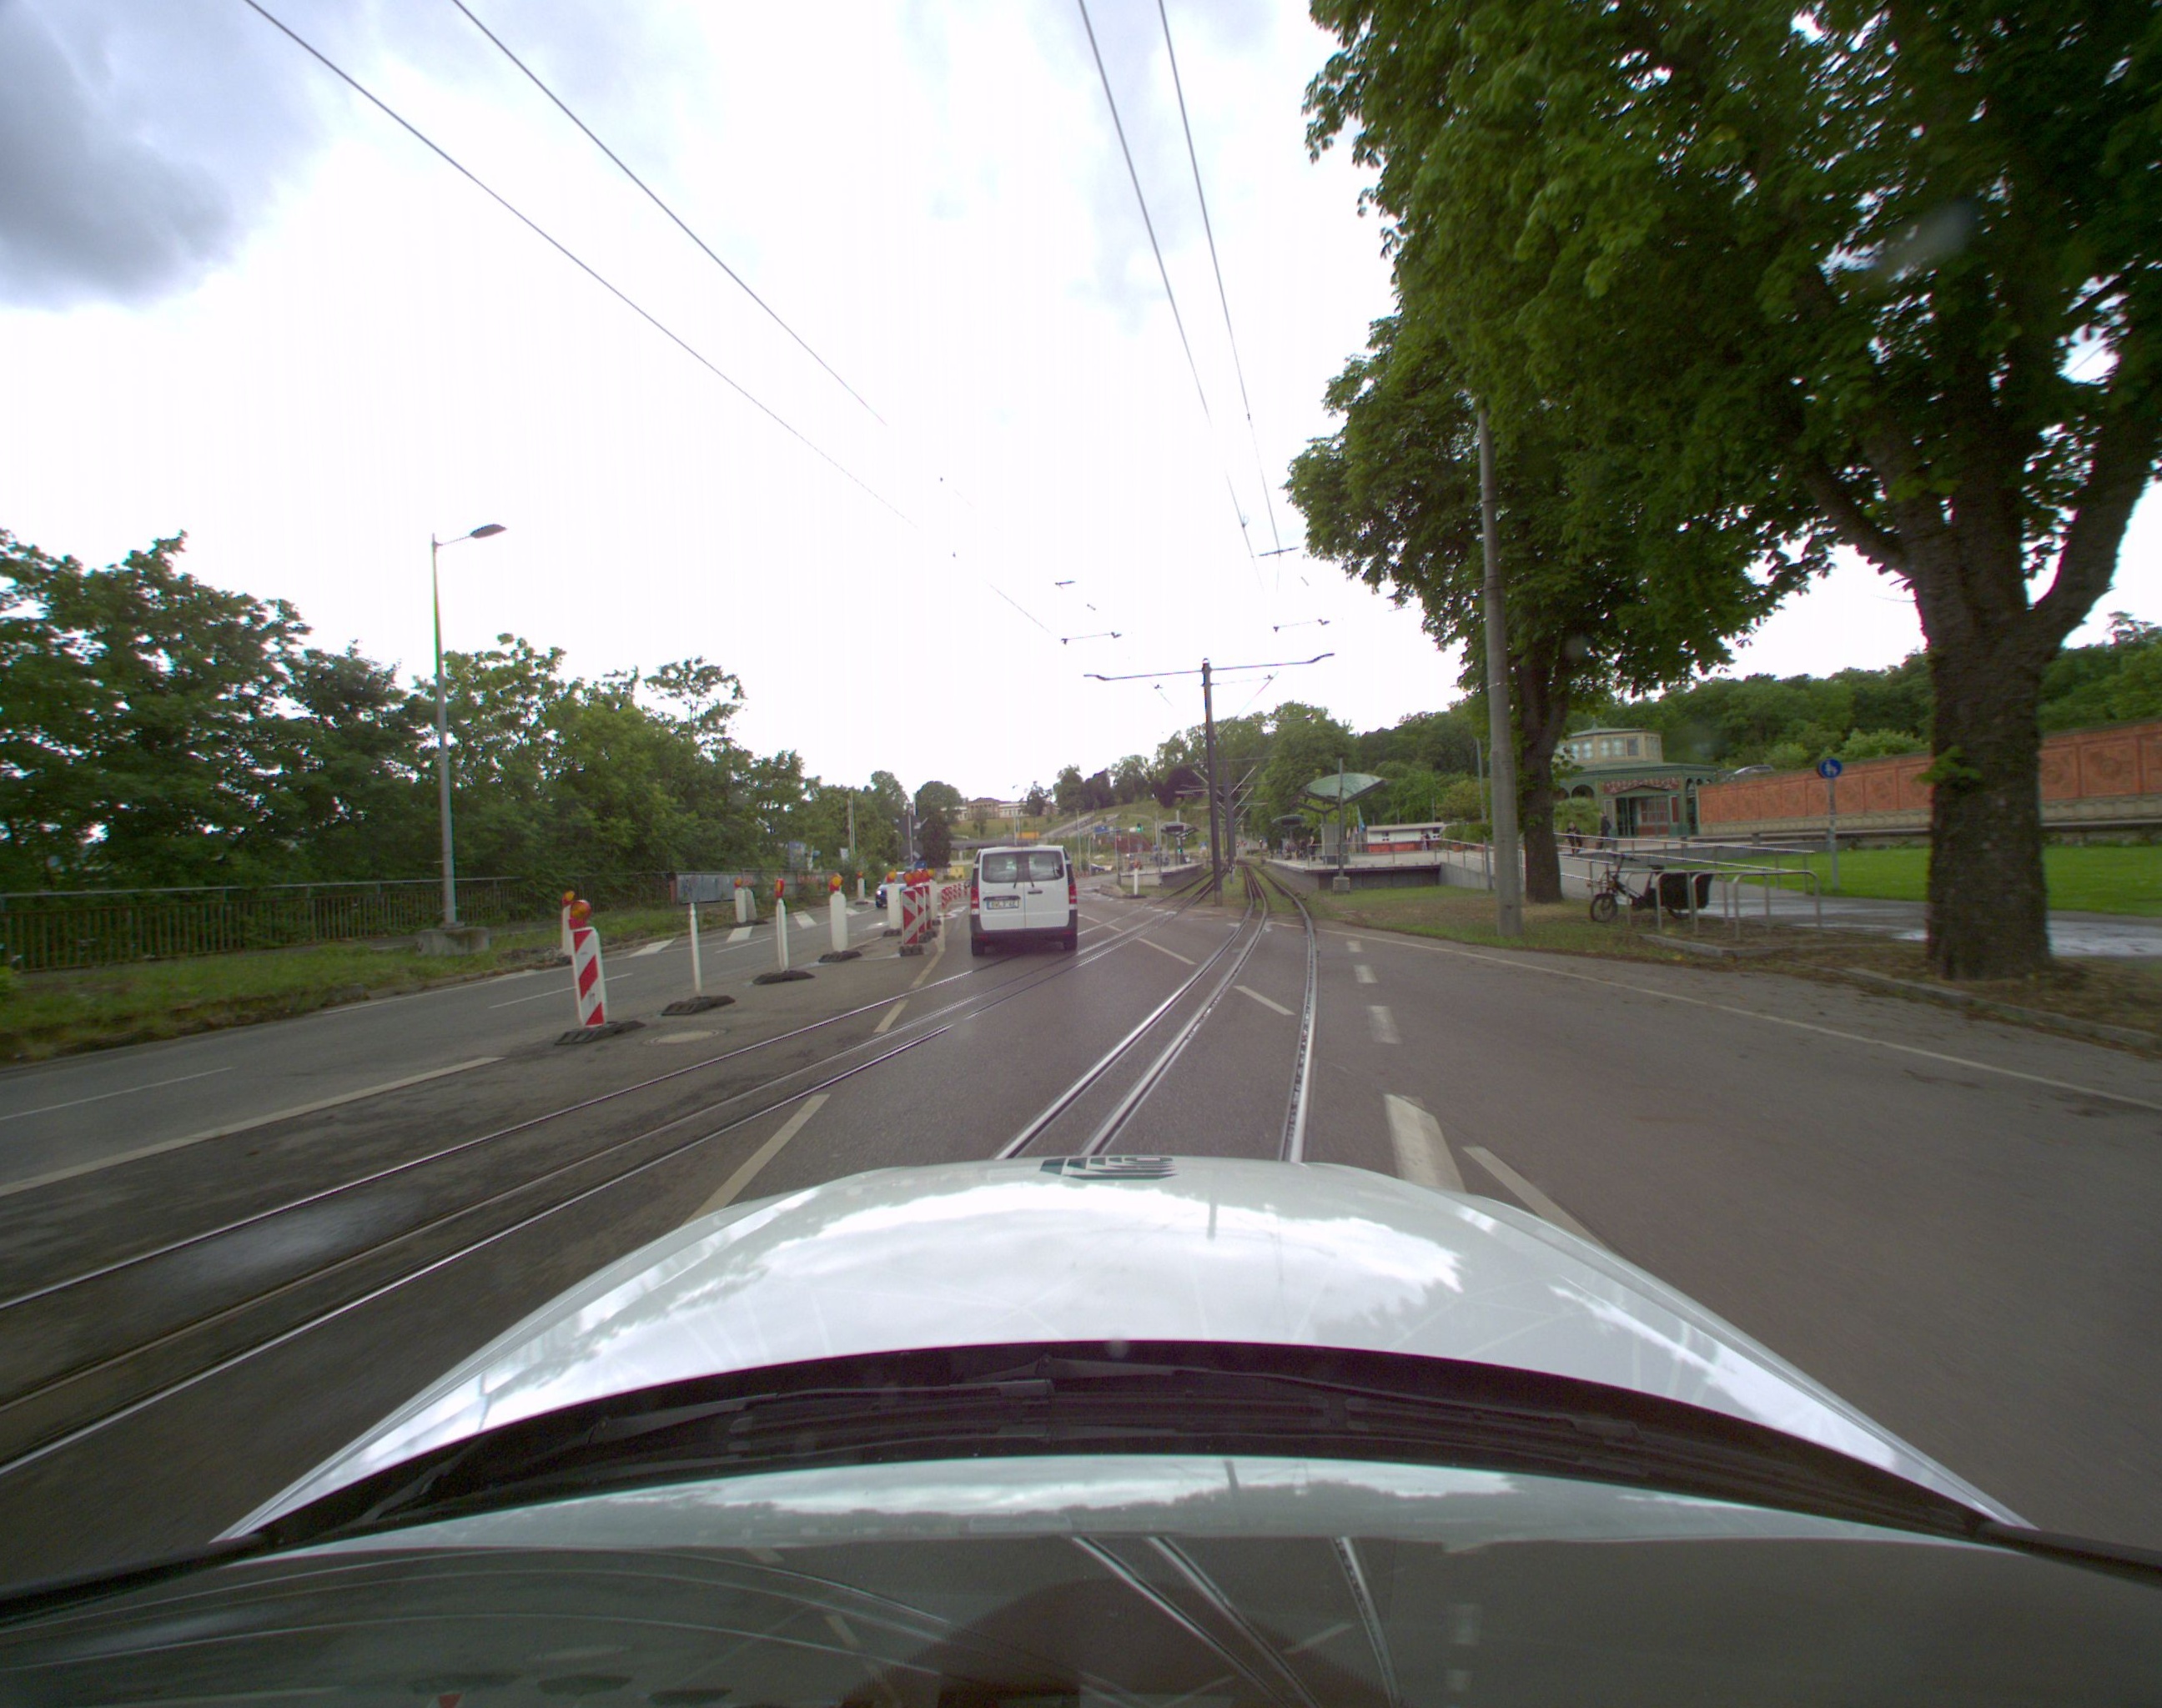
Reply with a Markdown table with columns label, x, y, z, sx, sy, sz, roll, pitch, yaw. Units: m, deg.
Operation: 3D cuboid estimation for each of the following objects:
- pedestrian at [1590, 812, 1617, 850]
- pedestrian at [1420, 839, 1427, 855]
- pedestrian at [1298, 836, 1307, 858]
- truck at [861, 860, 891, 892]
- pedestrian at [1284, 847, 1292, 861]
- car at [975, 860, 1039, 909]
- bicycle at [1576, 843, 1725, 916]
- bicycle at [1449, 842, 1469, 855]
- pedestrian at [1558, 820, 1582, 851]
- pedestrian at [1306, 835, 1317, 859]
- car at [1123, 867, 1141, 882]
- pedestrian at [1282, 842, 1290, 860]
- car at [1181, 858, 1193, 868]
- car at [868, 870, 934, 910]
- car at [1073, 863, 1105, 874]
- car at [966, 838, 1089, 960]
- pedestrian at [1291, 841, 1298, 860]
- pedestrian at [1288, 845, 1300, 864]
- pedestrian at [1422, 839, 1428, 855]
| label | x | y | z | sx | sy | sz | roll | pitch | yaw |
| --- | --- | --- | --- | --- | --- | --- | --- | --- | --- |
| pedestrian | 25.657 | -1.117 | 39.977 | 0.553 | 1.838 | 0.940 | 0 | -2 | -43 |
| pedestrian | 33.337 | -0.677 | 79.275 | 0.481 | 1.487 | 0.461 | -2 | -2 | 14 |
| pedestrian | 18.729 | -0.554 | 68.909 | 0.628 | 1.838 | 0.953 | -2 | -2 | 12 |
| truck | -23.793 | 2.550 | 94.205 | 2.799 | 3.336 | 8.429 | -5 | -1 | -17 |
| pedestrian | 18.659 | -0.008 | 73.561 | 0.653 | 1.191 | 0.678 | -2 | -2 | 12 |
| car | -2.793 | 1.142 | 31.539 | 1.831 | 1.729 | 4.065 | -2 | -1 | 3 |
| bicycle | 10.098 | 0.459 | 14.524 | 1.976 | 1.158 | 0.744 | -4 | -2 | 15 |
| bicycle | 32.351 | -0.495 | 69.713 | 0.564 | 1.061 | 1.704 | -1 | -1 | -19 |
| pedestrian | 19.555 | -0.717 | 32.551 | 0.545 | 1.201 | 0.670 | -1 | -2 | 4 |
| pedestrian | 16.173 | -0.486 | 57.204 | 0.628 | 1.687 | 0.868 | -1 | -2 | 11 |
| car | 6.203 | 2.437 | 98.484 | 1.983 | 1.772 | 4.007 | -1 | -1 | 7 |
| pedestrian | 19.448 | -0.302 | 77.263 | 0.541 | 1.677 | 0.677 | -1 | -2 | 8 |
| car | 20.681 | 1.782 | 159.575 | 2.189 | 2.014 | 5.159 | -3 | -1 | 6 |
| car | -7.804 | 1.530 | 35.675 | 1.687 | 1.461 | 3.916 | -4 | 0 | 3 |
| car | 1.280 | 2.433 | 134.110 | 4.669 | 1.477 | 2.011 | -5 | -1 | 21 |
| car | -1.152 | 0.779 | 15.537 | 1.958 | 1.904 | 4.449 | -2 | -1 | -8 |
| pedestrian | 18.836 | -0.308 | 71.753 | 0.521 | 1.620 | 0.678 | -2 | -2 | 12 |
| pedestrian | 18.981 | 0.065 | 72.684 | 0.857 | 1.677 | 0.761 | -1 | -2 | 1 |
| pedestrian | 33.672 | -0.698 | 79.726 | 0.481 | 1.535 | 0.461 | -2 | -2 | 14 |
